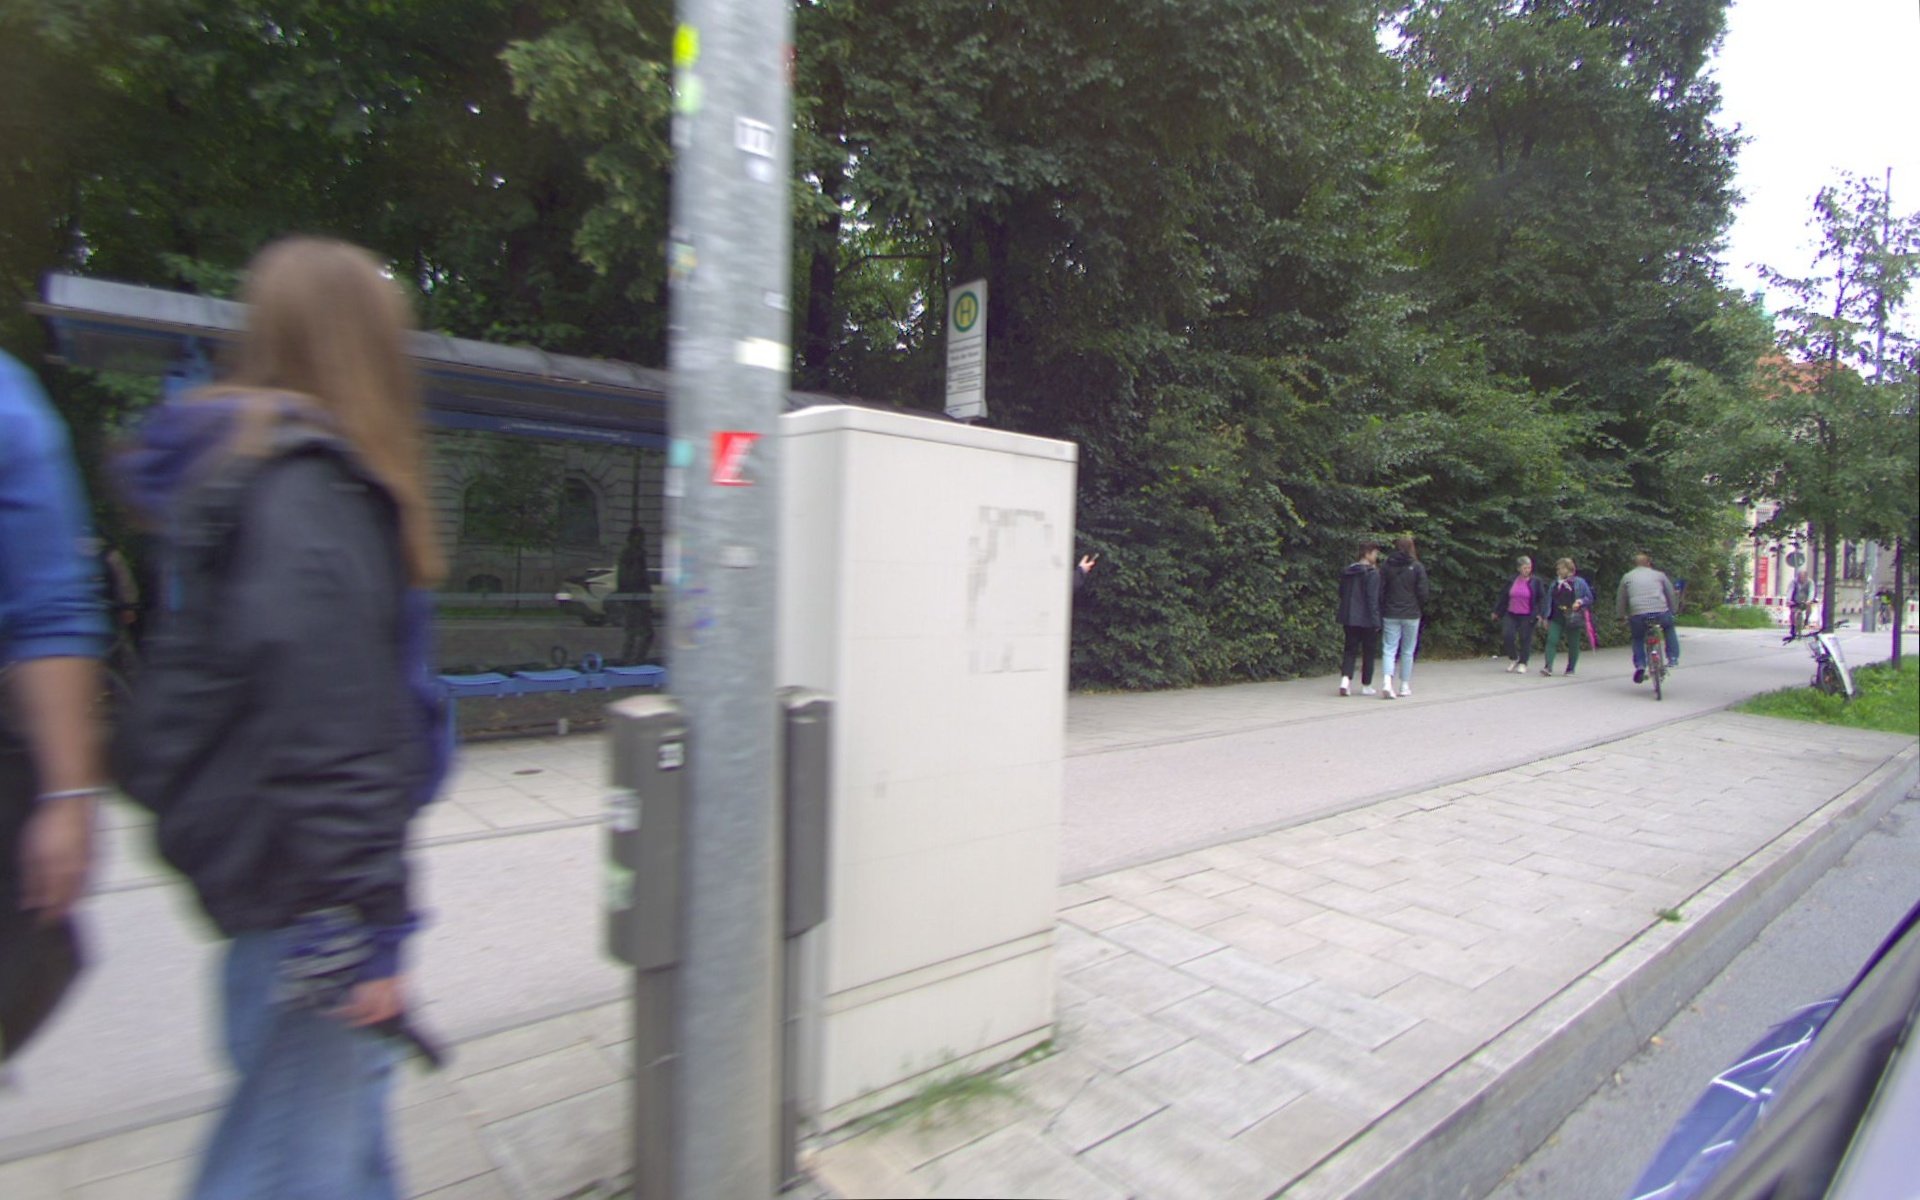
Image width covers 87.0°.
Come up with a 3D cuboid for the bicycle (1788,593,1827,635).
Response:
[{"bbox_3d":[22.908,0.358,27.378,0.737,1.071,2.133,1,0,39],"label":"bicycle"}]

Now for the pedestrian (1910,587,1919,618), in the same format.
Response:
[{"bbox_3d":[55.532,0.135,58.353,1.064,1.787,0.762,1,0,44],"label":"pedestrian"}]

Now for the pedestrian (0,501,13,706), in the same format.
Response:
[{"bbox_3d":[-8.613,0.033,8.619,0.522,1.790,0.639,0,0,-9],"label":"pedestrian"}]

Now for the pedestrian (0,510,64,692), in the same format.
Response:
[{"bbox_3d":[-9.597,0.008,10.240,0.522,1.790,0.639,0,0,-9],"label":"pedestrian"}]

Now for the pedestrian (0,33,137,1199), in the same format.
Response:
[{"bbox_3d":[-1.537,0.212,1.142,0.696,1.831,0.639,0,0,-4],"label":"pedestrian"}]

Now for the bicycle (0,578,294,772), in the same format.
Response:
[{"bbox_3d":[-4.980,0.413,6.118,1.549,1.073,0.393,0,0,-41],"label":"bicycle"}]

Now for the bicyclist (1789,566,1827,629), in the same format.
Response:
[{"bbox_3d":[22.985,-0.076,27.448,0.755,1.688,0.886,0,0,39],"label":"bicyclist"}]

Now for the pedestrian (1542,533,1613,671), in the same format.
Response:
[{"bbox_3d":[8.636,0.024,14.149,0.629,1.862,0.672,0,0,-39],"label":"pedestrian"}]

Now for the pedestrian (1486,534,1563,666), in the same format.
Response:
[{"bbox_3d":[8.256,-0.004,14.804,0.743,1.862,0.752,0,0,-39],"label":"pedestrian"}]

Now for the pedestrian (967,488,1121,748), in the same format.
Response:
[{"bbox_3d":[0.642,0.124,7.707,0.933,1.831,0.709,0,0,-41],"label":"pedestrian"}]

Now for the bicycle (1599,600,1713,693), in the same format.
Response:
[{"bbox_3d":[8.540,0.531,12.387,1.977,1.043,0.676,0,0,-41],"label":"bicycle"}]

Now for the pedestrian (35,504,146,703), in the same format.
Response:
[{"bbox_3d":[-8.101,0.028,9.454,0.522,1.790,0.639,0,0,-9],"label":"pedestrian"}]

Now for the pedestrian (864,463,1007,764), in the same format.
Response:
[{"bbox_3d":[-0.168,0.077,6.648,0.627,1.831,0.709,0,0,-40],"label":"pedestrian"}]

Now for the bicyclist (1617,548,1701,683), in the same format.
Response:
[{"bbox_3d":[8.527,0.172,12.349,0.627,1.581,0.709,0,0,-40],"label":"bicyclist"}]

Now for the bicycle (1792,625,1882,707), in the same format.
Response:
[{"bbox_3d":[9.944,0.715,11.456,1.856,0.804,0.494,0,0,-40],"label":"bicycle"}]

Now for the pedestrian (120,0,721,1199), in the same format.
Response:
[{"bbox_3d":[-0.801,0.255,1.465,0.627,1.831,0.709,0,0,-40],"label":"pedestrian"}]

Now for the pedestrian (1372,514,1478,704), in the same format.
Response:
[{"bbox_3d":[5.024,0.087,10.941,0.939,1.939,0.709,0,0,-41],"label":"pedestrian"}]

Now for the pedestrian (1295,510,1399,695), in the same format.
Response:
[{"bbox_3d":[4.281,0.017,11.193,0.939,1.939,0.709,0,0,-41],"label":"pedestrian"}]
